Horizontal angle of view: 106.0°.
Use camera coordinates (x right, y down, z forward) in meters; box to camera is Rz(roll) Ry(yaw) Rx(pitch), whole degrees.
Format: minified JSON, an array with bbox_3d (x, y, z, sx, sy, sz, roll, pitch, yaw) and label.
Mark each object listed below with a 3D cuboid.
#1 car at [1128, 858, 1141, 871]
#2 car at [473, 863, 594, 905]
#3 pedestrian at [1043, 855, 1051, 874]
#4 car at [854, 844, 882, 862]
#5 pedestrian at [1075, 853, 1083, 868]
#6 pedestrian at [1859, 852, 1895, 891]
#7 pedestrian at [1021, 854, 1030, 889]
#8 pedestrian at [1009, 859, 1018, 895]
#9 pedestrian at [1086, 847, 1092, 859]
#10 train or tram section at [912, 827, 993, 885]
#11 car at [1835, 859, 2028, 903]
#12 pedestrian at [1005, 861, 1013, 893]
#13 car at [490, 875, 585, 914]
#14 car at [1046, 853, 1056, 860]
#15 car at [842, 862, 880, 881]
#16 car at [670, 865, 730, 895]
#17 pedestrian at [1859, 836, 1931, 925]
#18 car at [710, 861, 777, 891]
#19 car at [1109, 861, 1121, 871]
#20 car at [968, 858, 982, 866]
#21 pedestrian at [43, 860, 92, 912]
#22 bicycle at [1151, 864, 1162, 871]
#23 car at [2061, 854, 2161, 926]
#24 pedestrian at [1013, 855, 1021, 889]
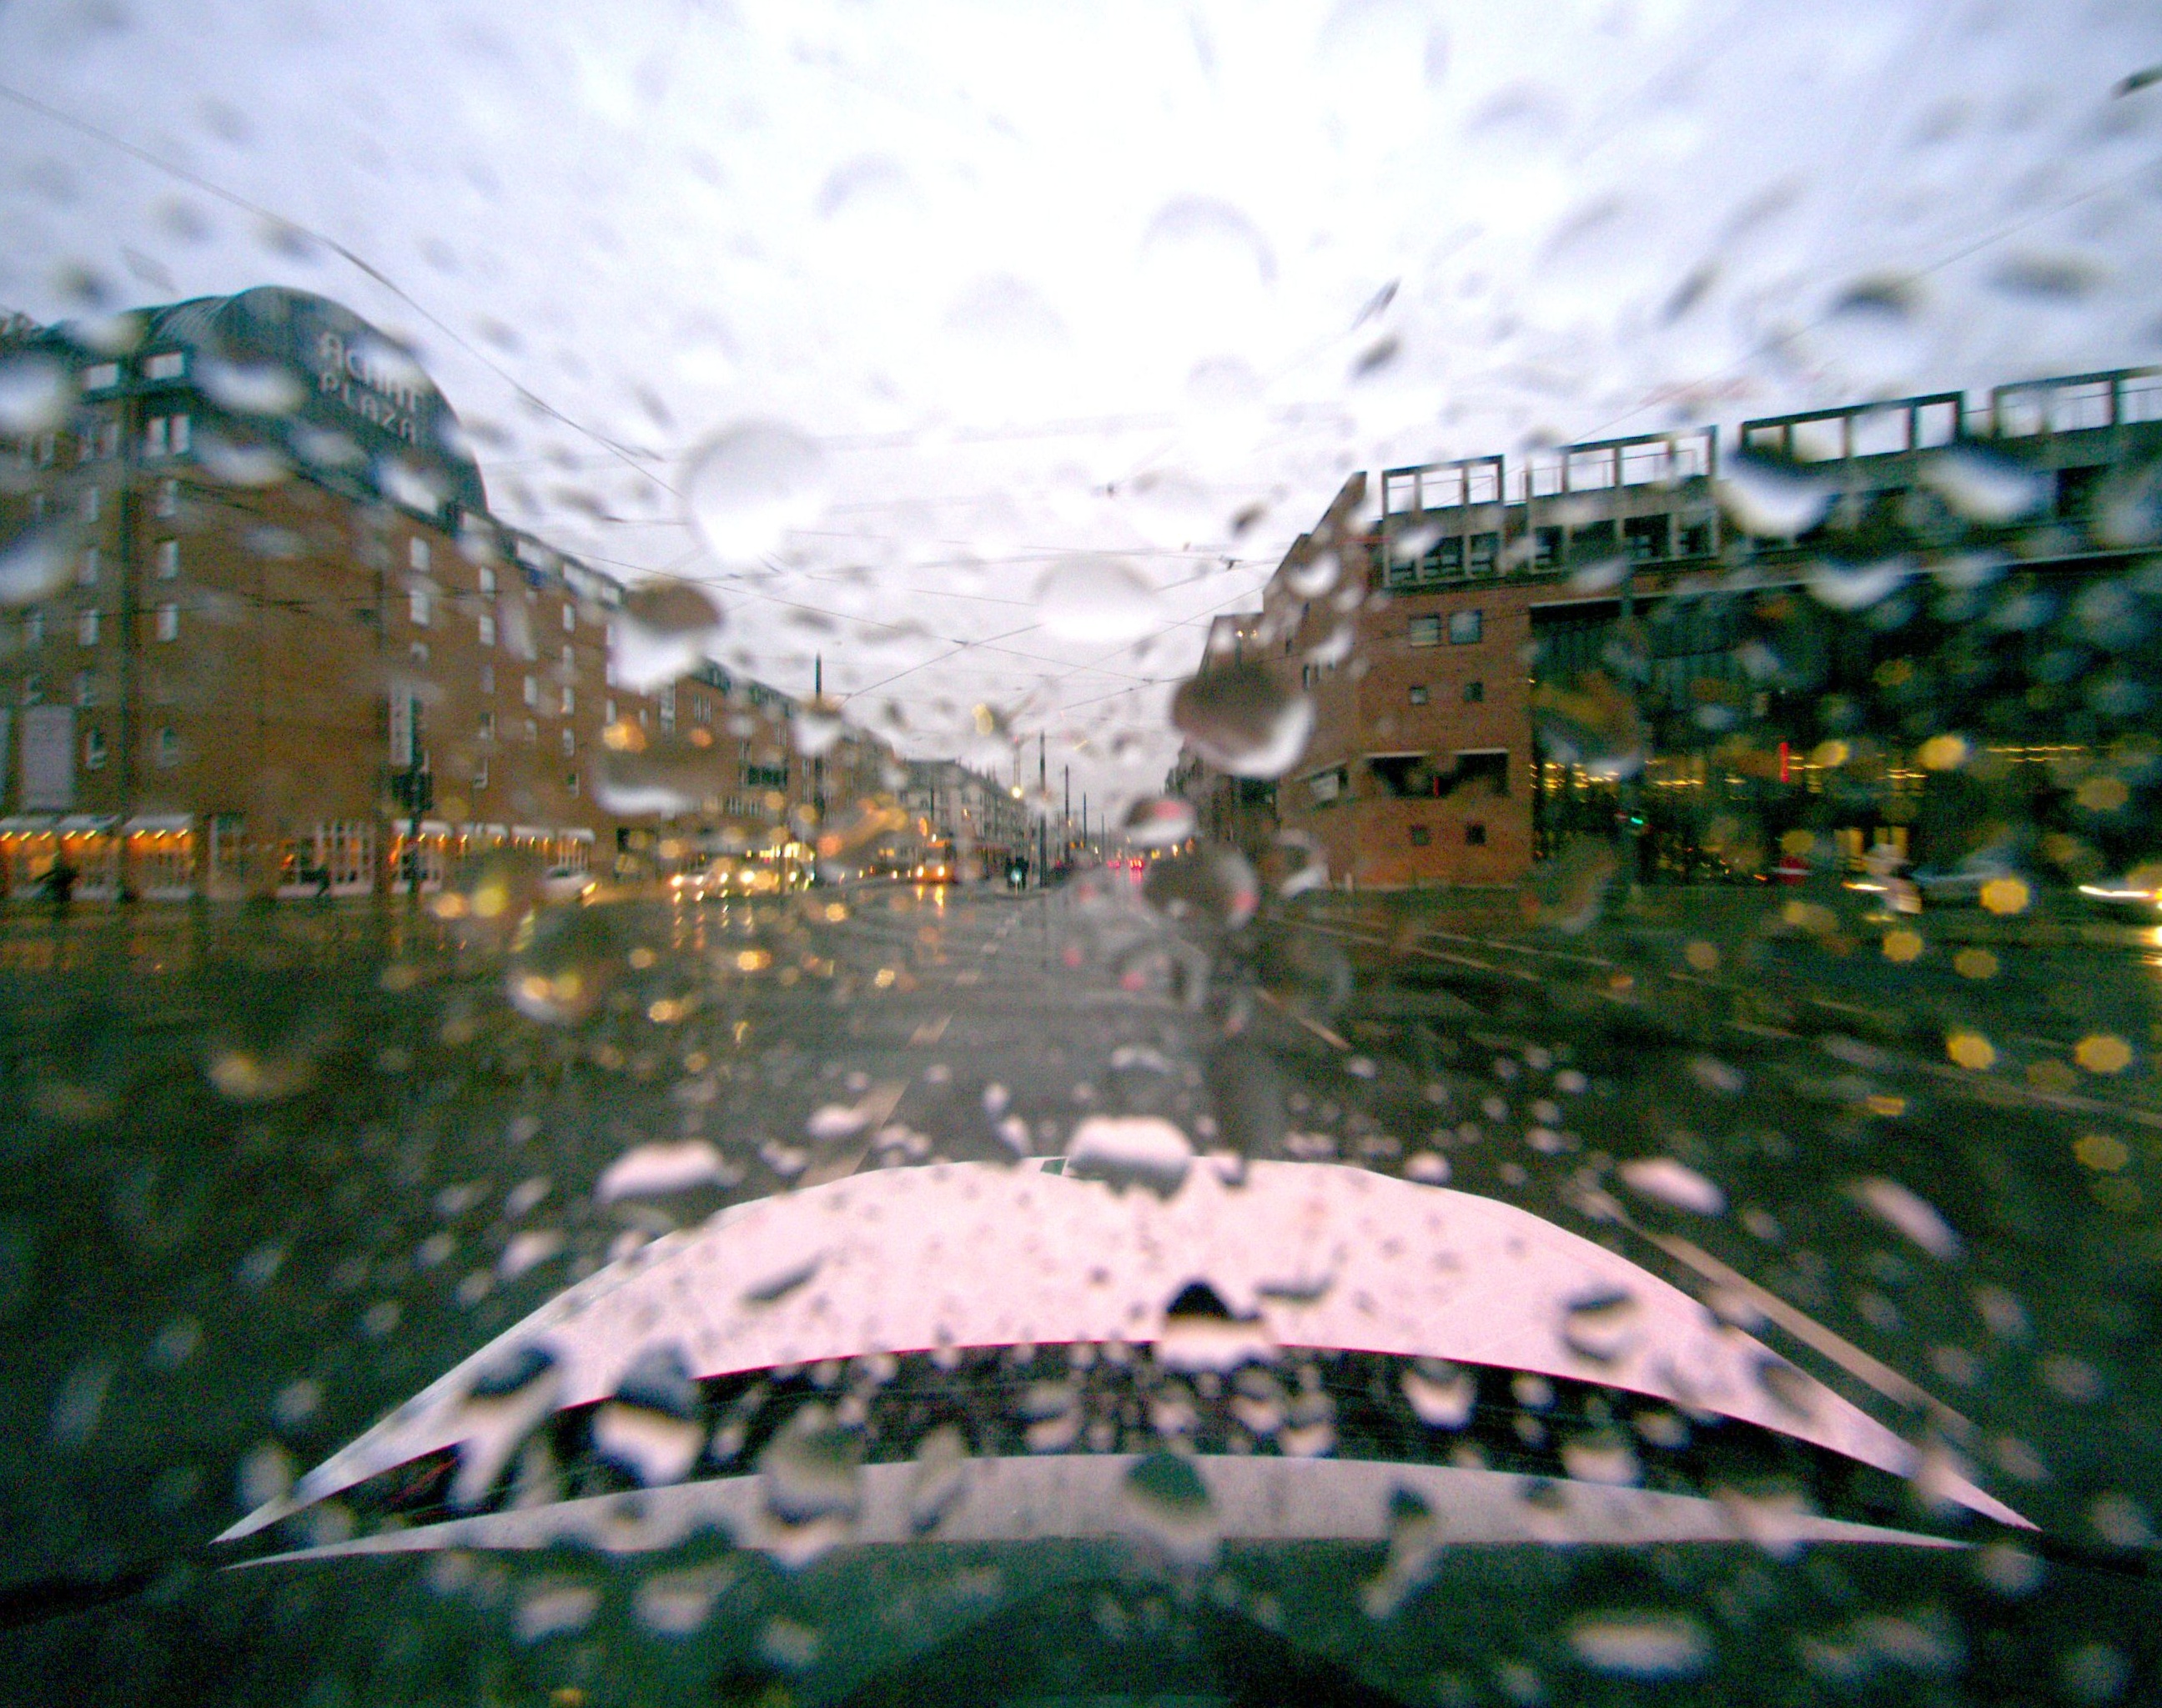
[{"bbox_3d":[8.986,1.714,136.318,1.984,2.013,4.006,-1,0,6],"label":"car"},{"bbox_3d":[-21.436,1.127,32.127,1.660,1.495,4.206,-1,0,5],"label":"car"},{"bbox_3d":[-2.820,0.899,67.999,0.616,1.590,0.622,0,-1,1],"label":"pedestrian"},{"bbox_3d":[-25.327,-0.083,97.065,1.985,2.013,4.004,1,0,3],"label":"car"},{"bbox_3d":[-0.254,0.757,92.696,0.777,1.704,0.769,0,0,-15],"label":"pedestrian"},{"bbox_3d":[29.392,0.638,30.093,0.730,1.389,0.741,-1,0,25],"label":"pedestrian"},{"bbox_3d":[-2.920,0.932,42.903,0.411,1.845,0.669,0,-1,-1],"label":"pedestrian"},{"bbox_3d":[-3.725,1.287,44.960,0.432,1.967,0.473,0,-1,-2],"label":"pedestrian"},{"bbox_3d":[1.094,-0.153,105.255,0.679,1.516,0.617,0,0,-9],"label":"pedestrian"},{"bbox_3d":[-8.852,0.130,57.973,2.937,3.589,12.269,1,0,4],"label":"train or tram section"},{"bbox_3d":[26.355,0.820,25.362,3.961,1.310,1.817,0,0,5],"label":"car"},{"bbox_3d":[-3.931,1.224,44.474,0.432,1.735,0.473,0,-1,-2],"label":"pedestrian"},{"bbox_3d":[-23.823,1.742,35.837,1.574,1.495,3.600,-1,0,5],"label":"car"},{"bbox_3d":[-5.810,0.551,156.684,1.675,1.354,3.548,1,0,3],"label":"car"},{"bbox_3d":[-16.009,1.242,59.438,1.675,1.354,3.548,1,0,3],"label":"car"},{"bbox_3d":[-23.157,1.537,49.674,1.676,1.709,3.859,0,0,3],"label":"car"},{"bbox_3d":[16.788,0.530,16.804,0.731,1.787,0.735,-1,0,0],"label":"pedestrian"},{"bbox_3d":[-20.249,1.283,49.121,1.821,1.709,4.709,0,0,3],"label":"car"},{"bbox_3d":[5.756,2.006,137.179,1.775,1.467,3.153,-1,0,5],"label":"car"},{"bbox_3d":[-18.008,1.384,138.046,1.675,1.354,3.548,1,0,3],"label":"car"},{"bbox_3d":[-40.376,1.259,32.458,0.936,2.014,0.754,0,-1,-20],"label":"pedestrian"},{"bbox_3d":[11.899,2.196,128.234,1.723,1.055,0.371,-2,0,2],"label":"bicycle"},{"bbox_3d":[23.281,0.676,16.665,3.960,1.341,1.817,-2,-1,6],"label":"car"},{"bbox_3d":[-3.334,0.944,42.552,0.358,1.787,0.440,0,-1,-1],"label":"pedestrian"}]
